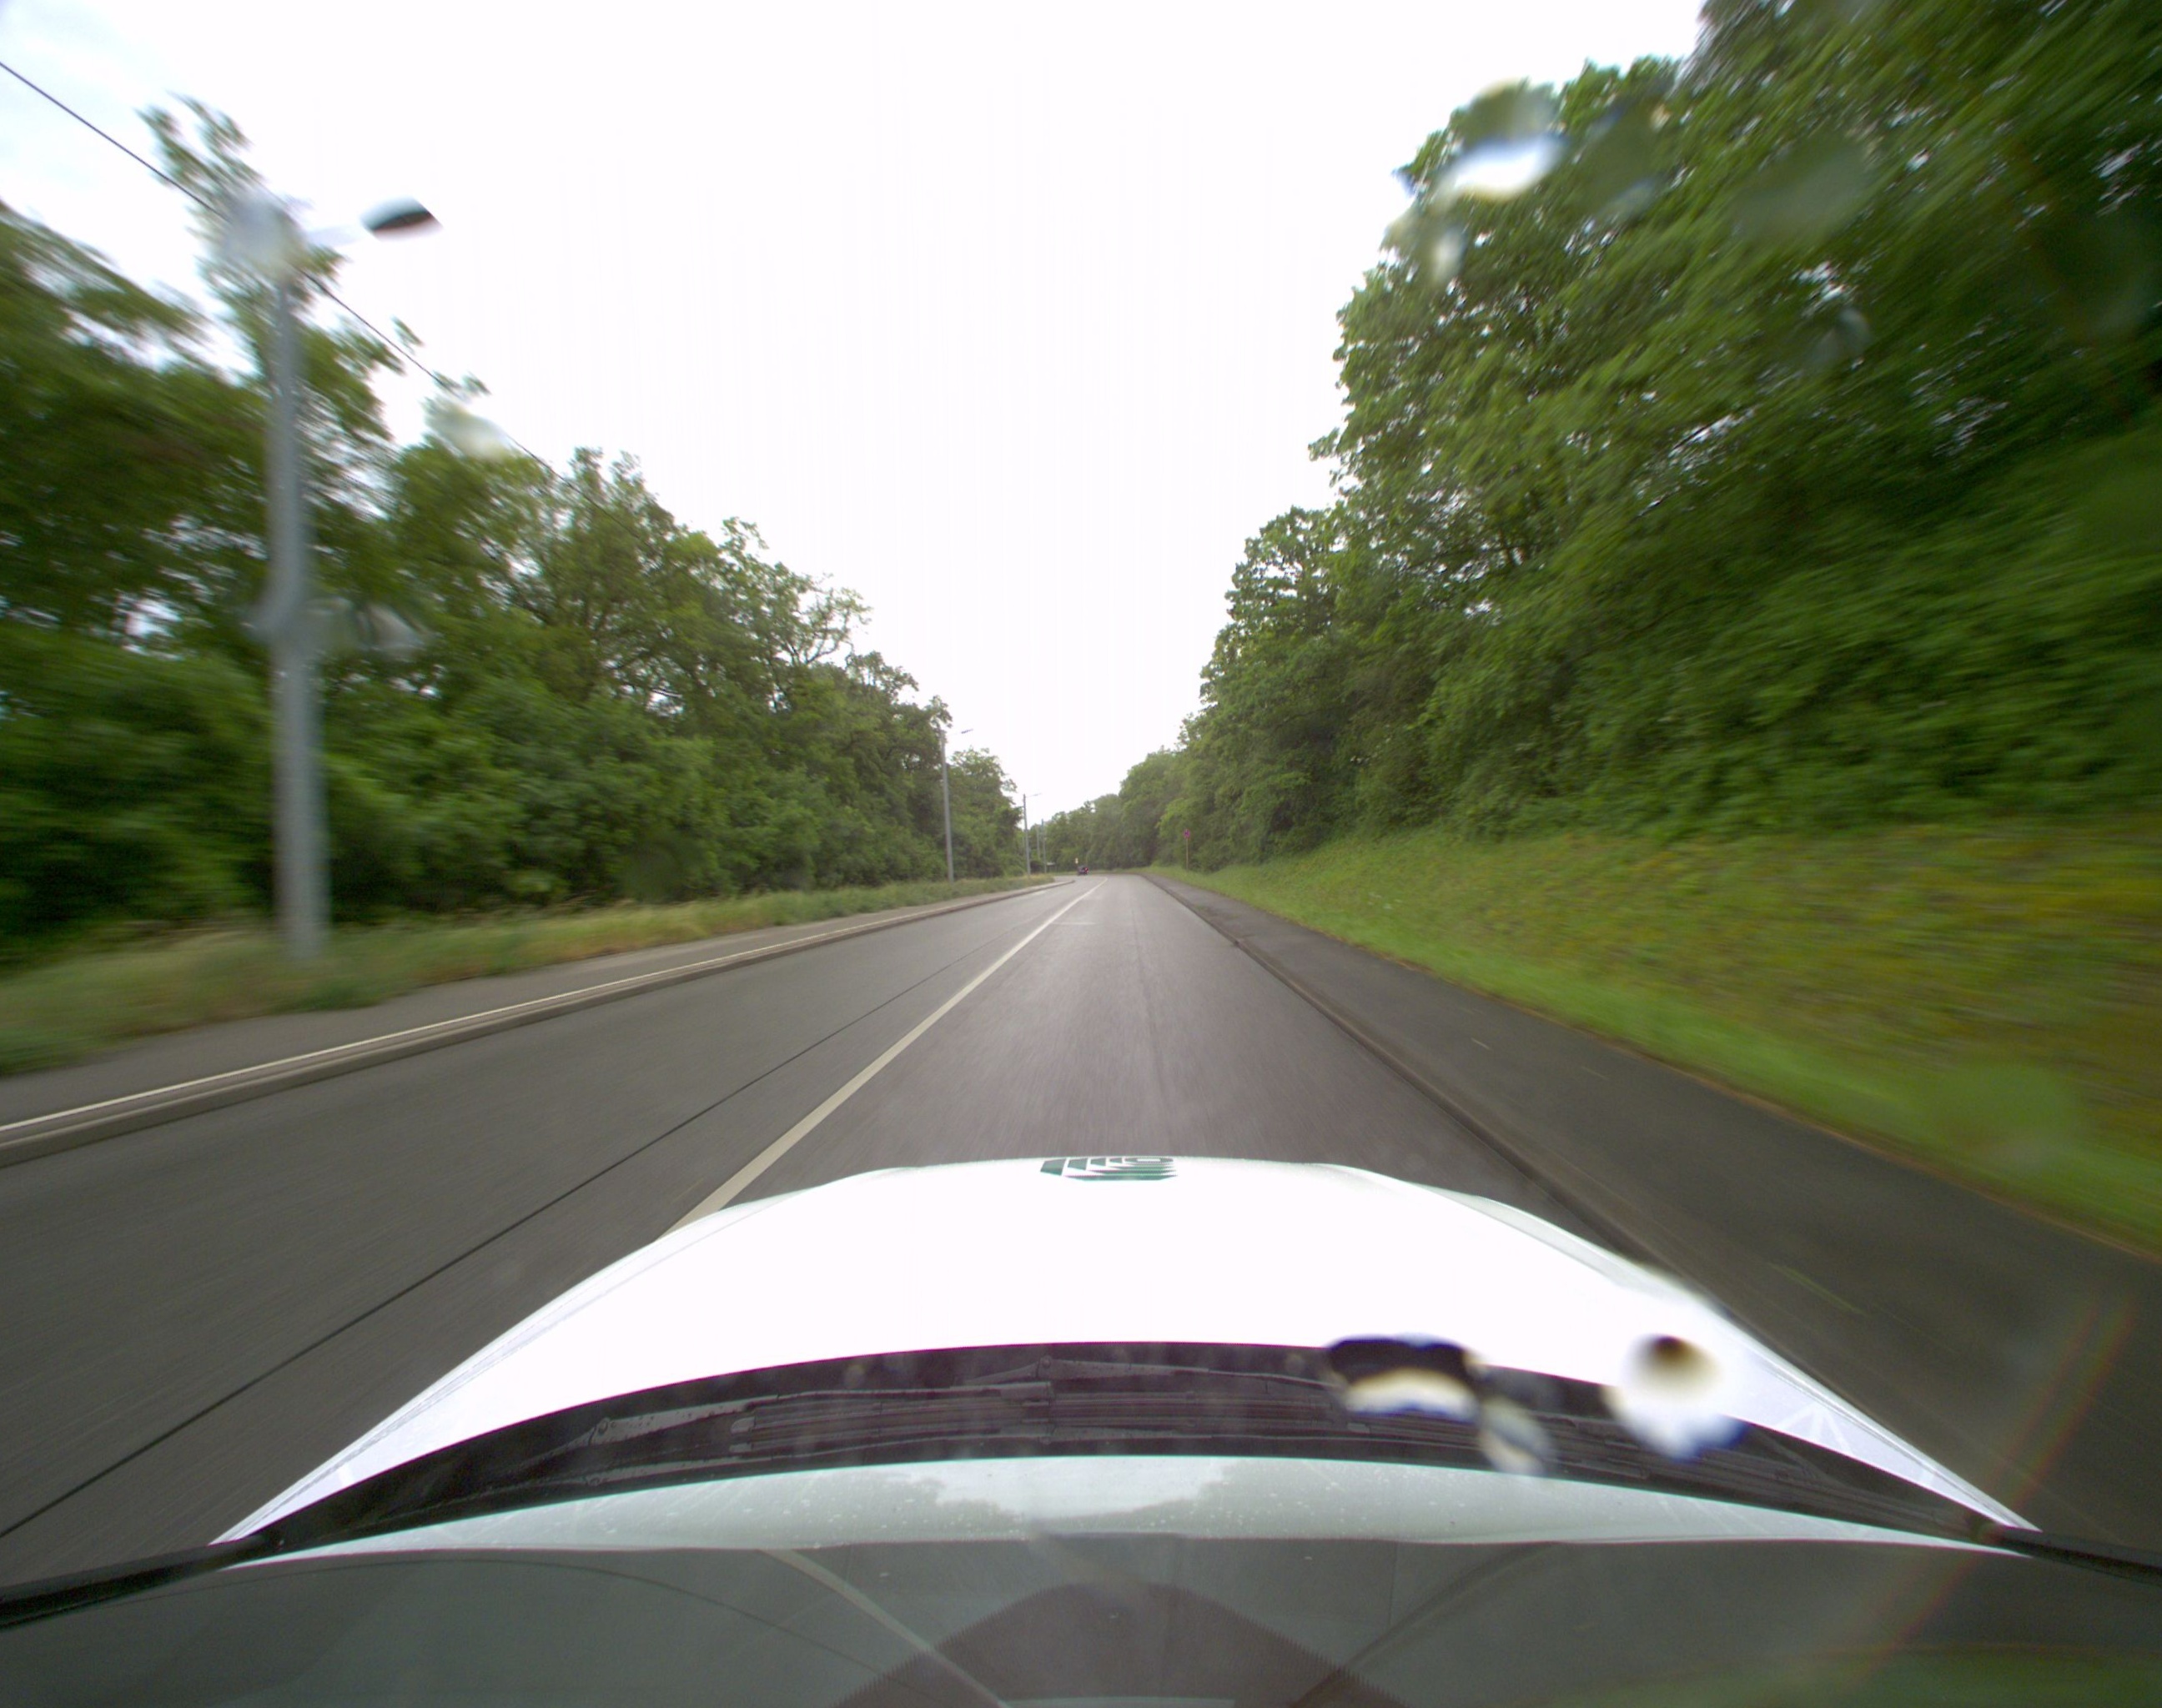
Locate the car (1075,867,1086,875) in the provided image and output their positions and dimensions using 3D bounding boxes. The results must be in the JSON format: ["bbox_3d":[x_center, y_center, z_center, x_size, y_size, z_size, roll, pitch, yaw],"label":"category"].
[{"bbox_3d":[-0.069,3.486,165.521,1.864,1.596,3.993,0,-2,-4],"label":"car"}]
